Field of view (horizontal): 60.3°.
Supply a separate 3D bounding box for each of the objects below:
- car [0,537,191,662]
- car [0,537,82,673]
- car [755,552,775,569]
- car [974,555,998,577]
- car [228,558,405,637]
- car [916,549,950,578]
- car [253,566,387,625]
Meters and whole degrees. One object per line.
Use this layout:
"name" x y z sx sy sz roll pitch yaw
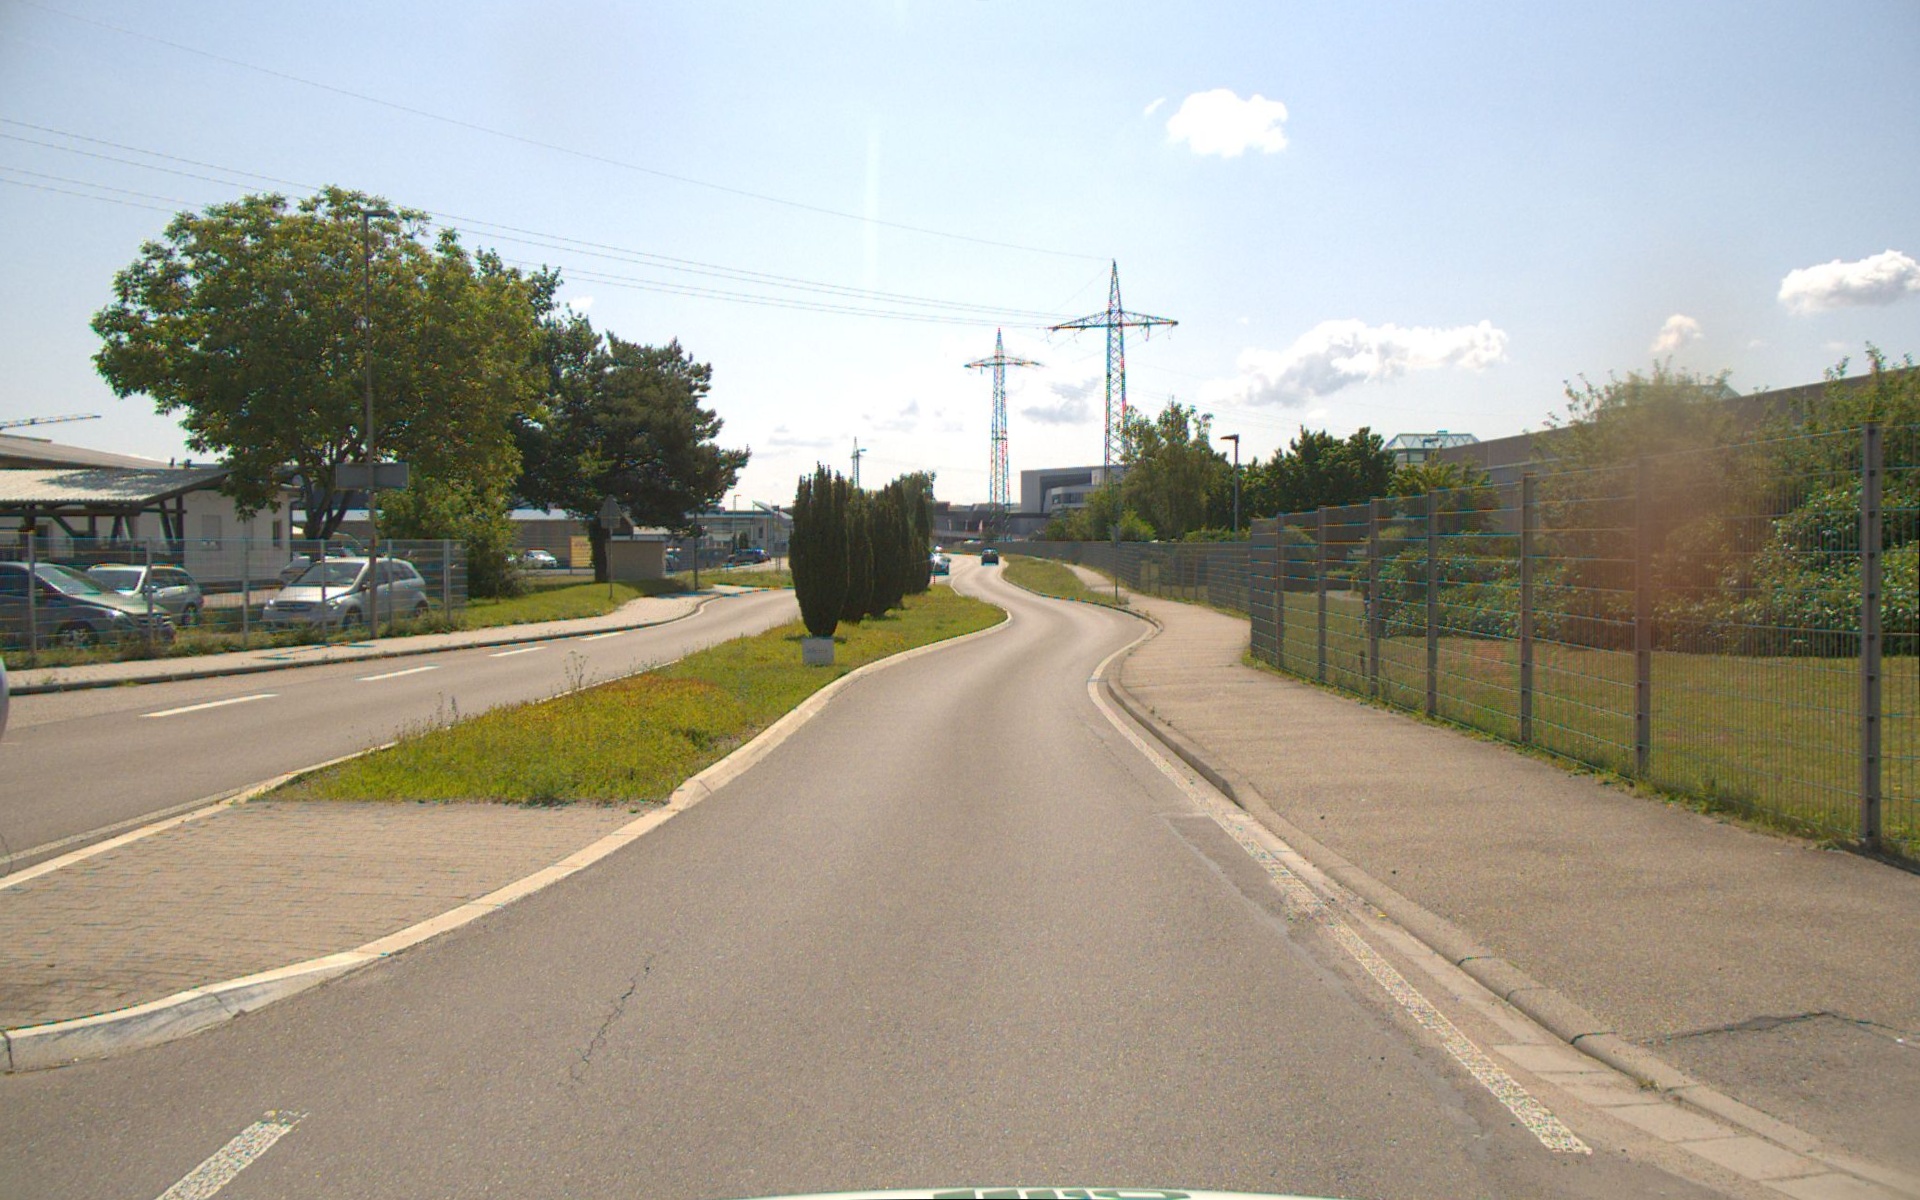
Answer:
"car" -14.966 -0.066 27.179 3.903 1.936 2.001 1 2 17
"car" -15.415 0.022 24.643 3.904 1.936 2.001 1 2 20
"car" -24.193 -4.850 205.173 1.953 2.049 4.000 0 1 -1
"car" 2.685 -3.502 170.871 2.226 1.981 4.663 3 -1 -2
"car" -13.230 -0.065 34.213 1.789 1.544 3.592 0 1 10
"car" -2.050 -2.730 122.928 2.441 2.048 4.664 0 2 -2
"car" -21.004 -0.149 54.436 3.921 1.882 1.827 0 1 -15
